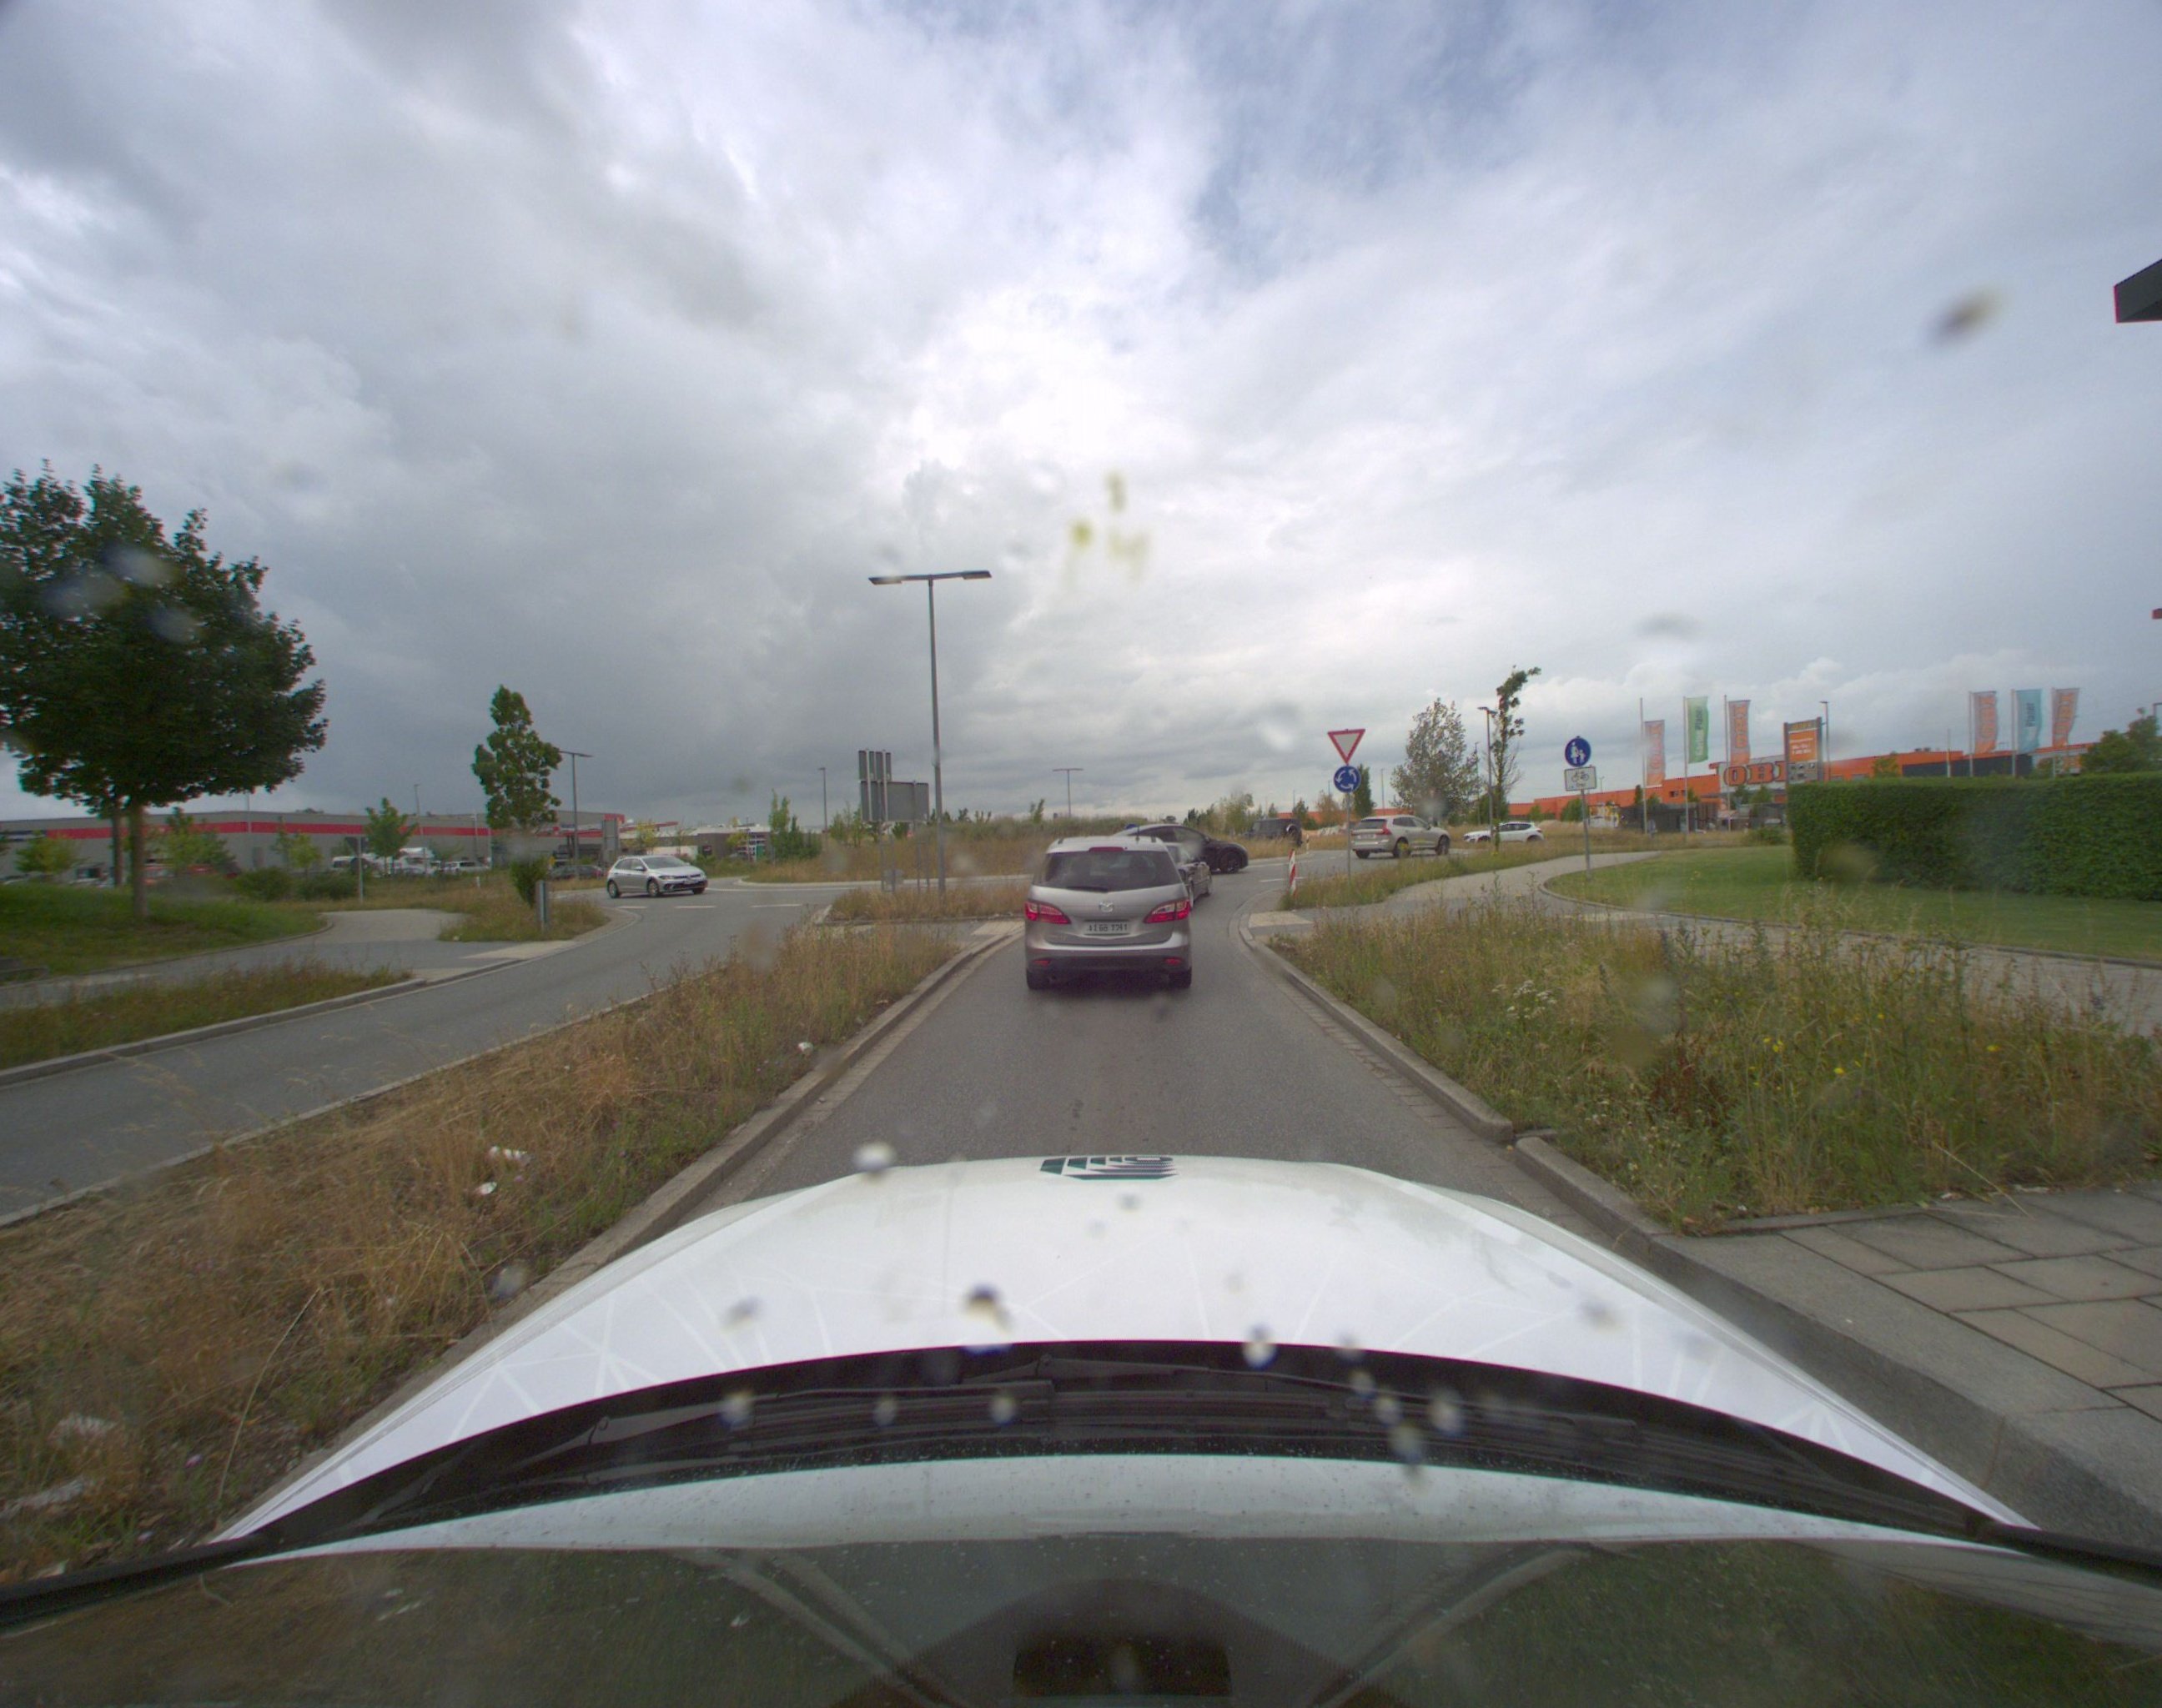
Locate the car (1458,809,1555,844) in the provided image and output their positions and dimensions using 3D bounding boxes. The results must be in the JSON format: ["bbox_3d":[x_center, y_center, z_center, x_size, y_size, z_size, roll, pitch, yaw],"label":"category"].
[{"bbox_3d":[23.374,-1.511,44.874,4.303,1.648,1.875,-3,2,7],"label":"car"}]

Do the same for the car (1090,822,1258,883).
[{"bbox_3d":[2.854,-0.093,25.200,4.768,1.498,1.934,-4,3,-16],"label":"car"}]

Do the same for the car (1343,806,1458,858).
[{"bbox_3d":[12.600,-0.874,31.997,4.797,1.738,1.923,-5,3,-37],"label":"car"}]

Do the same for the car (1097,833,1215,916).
[{"bbox_3d":[1.728,0.339,17.337,1.724,1.403,4.016,0,3,16],"label":"car"}]

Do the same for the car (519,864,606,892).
[{"bbox_3d":[-28.550,1.298,44.961,3.857,1.325,1.457,-2,0,-27],"label":"car"}]

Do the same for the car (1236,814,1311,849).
[{"bbox_3d":[11.520,-1.380,49.094,2.085,1.886,4.744,-4,3,-19],"label":"car"}]

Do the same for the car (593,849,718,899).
[{"bbox_3d":[-14.738,0.683,28.195,3.949,1.464,1.825,-3,2,28],"label":"car"}]

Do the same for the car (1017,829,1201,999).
[{"bbox_3d":[0.348,0.523,9.738,1.731,1.598,4.000,-1,1,2],"label":"car"}]

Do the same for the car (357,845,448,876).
[{"bbox_3d":[-65.911,0.624,79.357,2.455,2.820,7.688,-1,-1,0],"label":"car"}]
